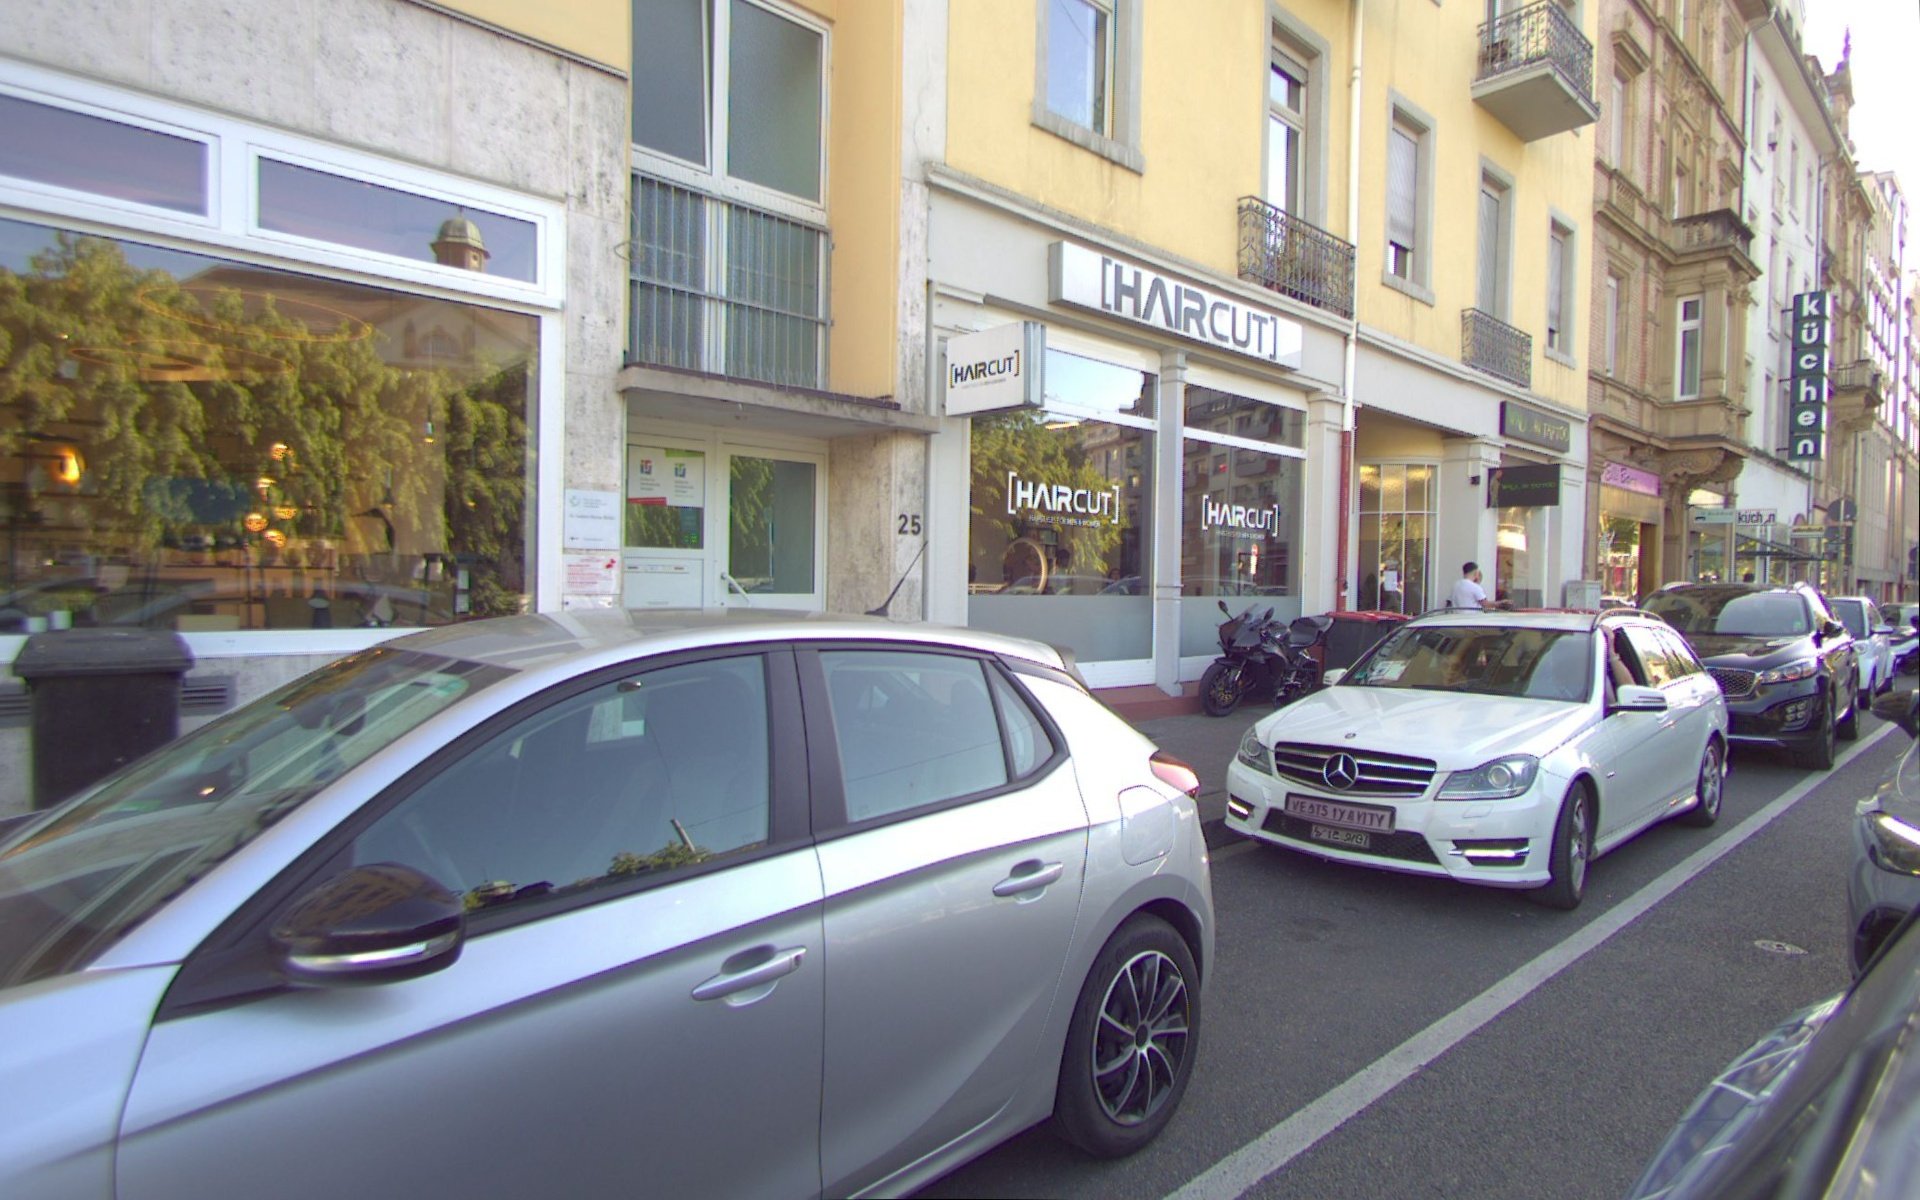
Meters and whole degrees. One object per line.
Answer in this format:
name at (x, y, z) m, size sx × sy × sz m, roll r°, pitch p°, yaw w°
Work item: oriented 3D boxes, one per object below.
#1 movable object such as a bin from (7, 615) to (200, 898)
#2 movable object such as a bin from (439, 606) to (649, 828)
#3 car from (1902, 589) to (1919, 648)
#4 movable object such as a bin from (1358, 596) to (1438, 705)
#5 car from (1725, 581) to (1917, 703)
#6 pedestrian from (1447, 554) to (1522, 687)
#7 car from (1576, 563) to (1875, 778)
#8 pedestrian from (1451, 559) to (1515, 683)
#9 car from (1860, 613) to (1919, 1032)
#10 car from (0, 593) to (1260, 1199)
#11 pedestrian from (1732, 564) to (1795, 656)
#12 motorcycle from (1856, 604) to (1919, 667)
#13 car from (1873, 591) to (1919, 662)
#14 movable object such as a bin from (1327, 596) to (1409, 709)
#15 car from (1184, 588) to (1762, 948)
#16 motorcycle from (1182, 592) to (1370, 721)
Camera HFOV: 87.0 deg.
movable object such as a bin at (-3.670, 0.603, 4.361) m, size 0.591 × 1.041 × 0.812 m, roll 0°, pitch 1°, yaw -40°
movable object such as a bin at (-2.286, 0.581, 5.558) m, size 0.878 × 1.066 × 0.752 m, roll 0°, pitch 1°, yaw -40°
car at (26.403, 0.487, 26.868) m, size 3.931 × 1.504 × 1.713 m, roll 0°, pitch 1°, yaw -42°
movable object such as a bin at (5.149, 0.569, 11.896) m, size 0.633 × 1.222 × 0.647 m, roll 0°, pitch 0°, yaw -40°
car at (12.674, 0.534, 14.865) m, size 2.965 × 1.587 × 1.695 m, roll 0°, pitch 1°, yaw -40°
pedestrian at (6.720, 0.247, 12.956) m, size 0.689 × 1.637 × 0.641 m, roll 0°, pitch 0°, yaw -42°
car at (8.012, 0.538, 10.398) m, size 1.853 × 1.719 × 4.623 m, roll 1°, pitch 1°, yaw 45°
pedestrian at (7.139, 0.272, 13.813) m, size 0.631 × 1.637 × 0.572 m, roll 0°, pitch 0°, yaw -40°
car at (5.319, 0.770, 4.277) m, size 4.183 × 1.396 × 1.846 m, roll 0°, pitch 1°, yaw -42°
car at (-1.029, 0.704, 2.326) m, size 3.642 × 1.415 × 1.652 m, roll 0°, pitch 1°, yaw -42°
pedestrian at (14.802, 0.167, 18.640) m, size 0.750 × 1.637 × 0.794 m, roll 0°, pitch 1°, yaw -43°
motorcycle at (19.291, 0.713, 20.525) m, size 1.514 × 1.248 × 0.771 m, roll 1°, pitch 0°, yaw 1°
car at (22.221, 0.569, 23.061) m, size 3.931 × 1.504 × 1.713 m, roll 0°, pitch 1°, yaw -42°
movable object such as a bin at (4.639, 0.575, 11.507) m, size 0.633 × 1.222 × 0.647 m, roll 0°, pitch 0°, yaw -40°
car at (3.481, 0.682, 6.387) m, size 4.519 × 1.480 × 1.757 m, roll 0°, pitch 1°, yaw -42°
motorcycle at (3.324, 0.526, 10.534) m, size 2.208 × 1.179 × 0.773 m, roll 0°, pitch 4°, yaw -41°
